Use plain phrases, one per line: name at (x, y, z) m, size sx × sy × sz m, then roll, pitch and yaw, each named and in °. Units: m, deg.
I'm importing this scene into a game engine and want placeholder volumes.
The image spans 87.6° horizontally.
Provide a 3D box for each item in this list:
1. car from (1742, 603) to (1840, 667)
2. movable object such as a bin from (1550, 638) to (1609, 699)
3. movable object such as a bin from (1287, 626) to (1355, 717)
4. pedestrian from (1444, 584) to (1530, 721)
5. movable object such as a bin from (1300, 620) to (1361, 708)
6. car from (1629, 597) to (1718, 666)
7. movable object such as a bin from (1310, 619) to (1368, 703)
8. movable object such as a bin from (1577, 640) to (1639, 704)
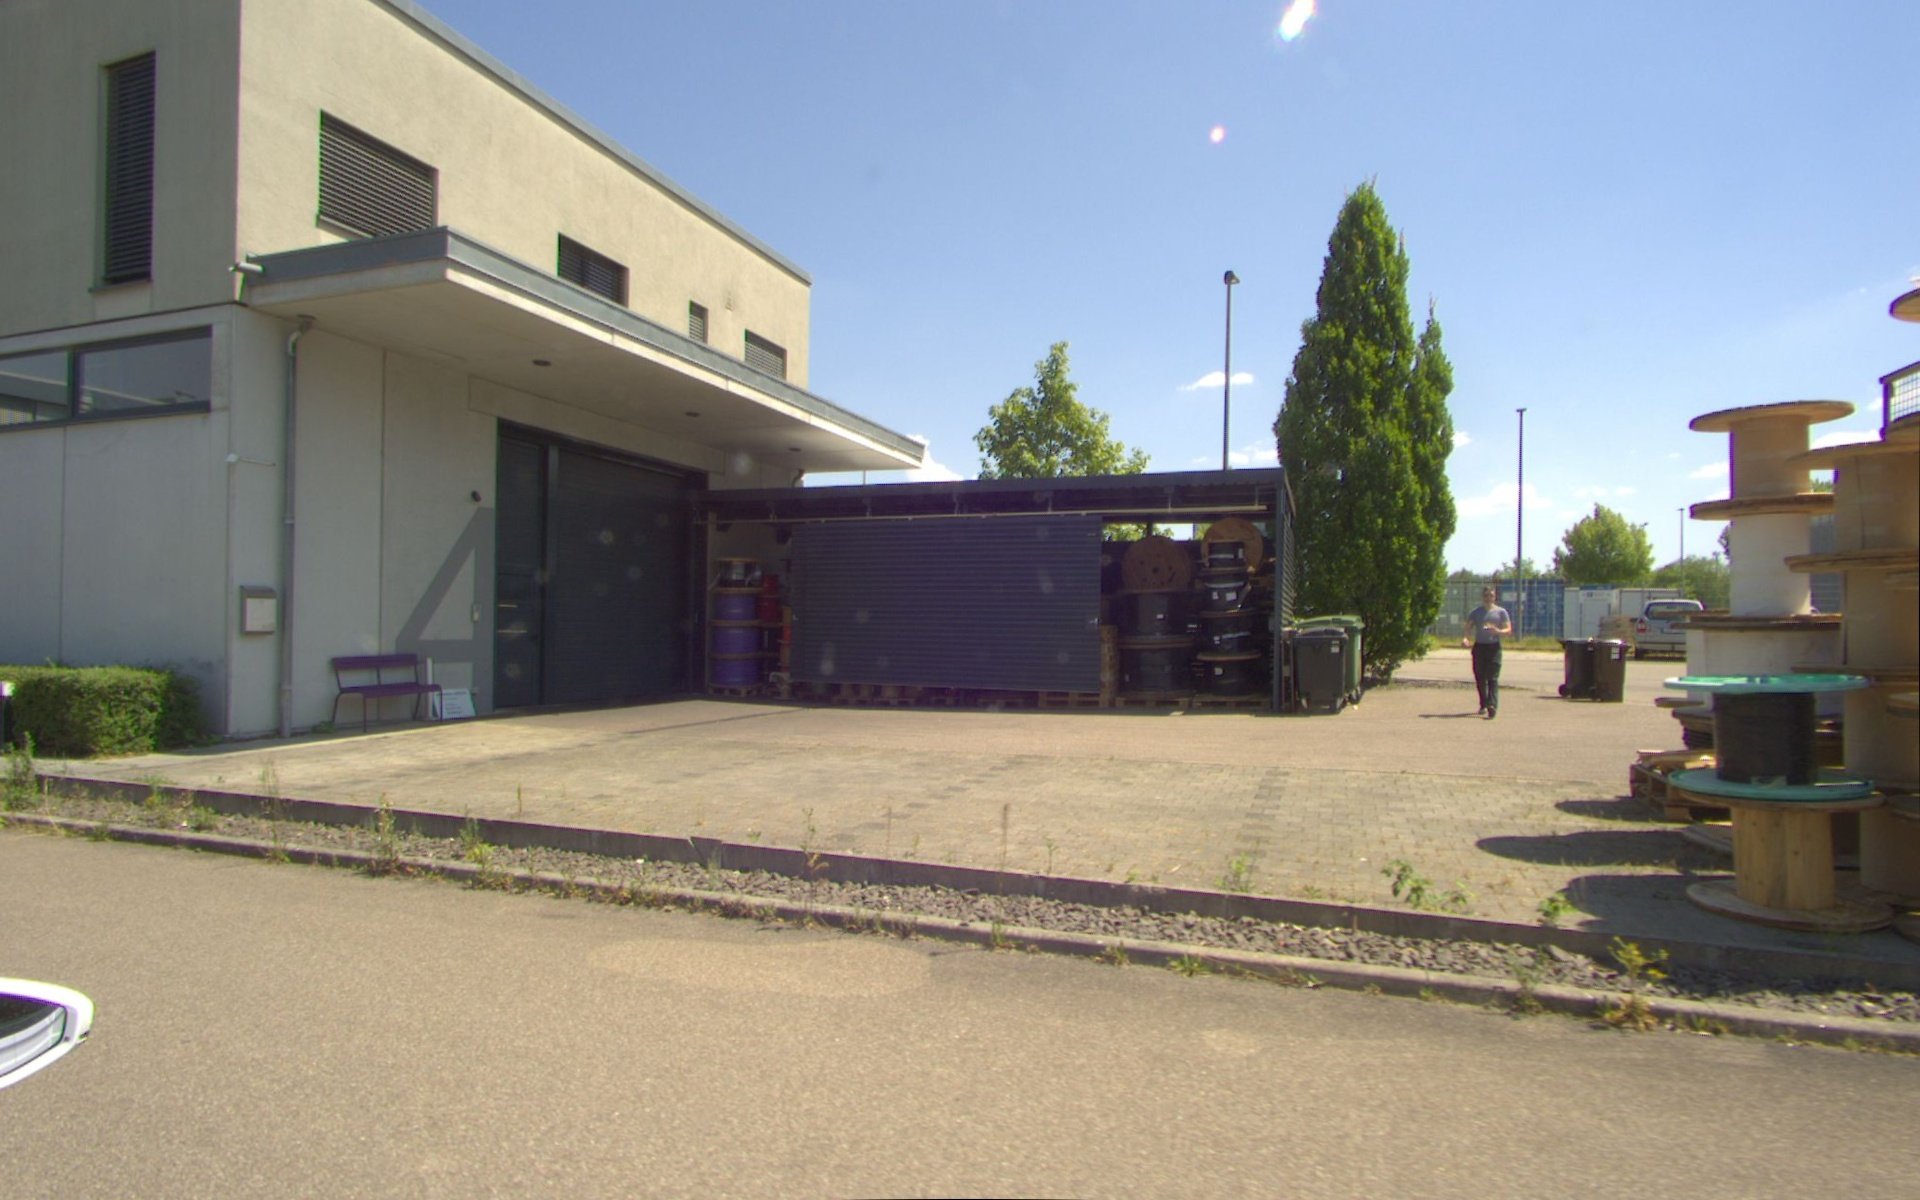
car at (21.402, 0.852, 25.917) m, size 1.828 × 1.516 × 3.972 m, roll 0°, pitch 0°, yaw 38°
movable object such as a bin at (9.777, 1.074, 15.822) m, size 0.537 × 0.929 × 0.585 m, roll -1°, pitch 0°, yaw -4°
movable object such as a bin at (5.230, 1.011, 14.495) m, size 0.789 × 1.266 × 0.873 m, roll -1°, pitch 0°, yaw 29°
pedestrian at (7.184, 0.696, 13.657) m, size 0.760 × 1.792 × 0.802 m, roll 0°, pitch 0°, yaw -40°
movable object such as a bin at (5.795, 0.984, 15.643) m, size 0.789 × 1.315 × 0.753 m, roll -1°, pitch 0°, yaw 29°
car at (19.529, 0.815, 27.350) m, size 1.828 × 1.728 × 3.972 m, roll 0°, pitch 0°, yaw 38°
movable object such as a bin at (6.210, 0.984, 16.394) m, size 0.789 × 1.315 × 0.806 m, roll -1°, pitch 0°, yaw 29°
movable object such as a bin at (9.809, 1.082, 15.172) m, size 0.537 × 0.929 × 0.585 m, roll -1°, pitch 0°, yaw -4°
